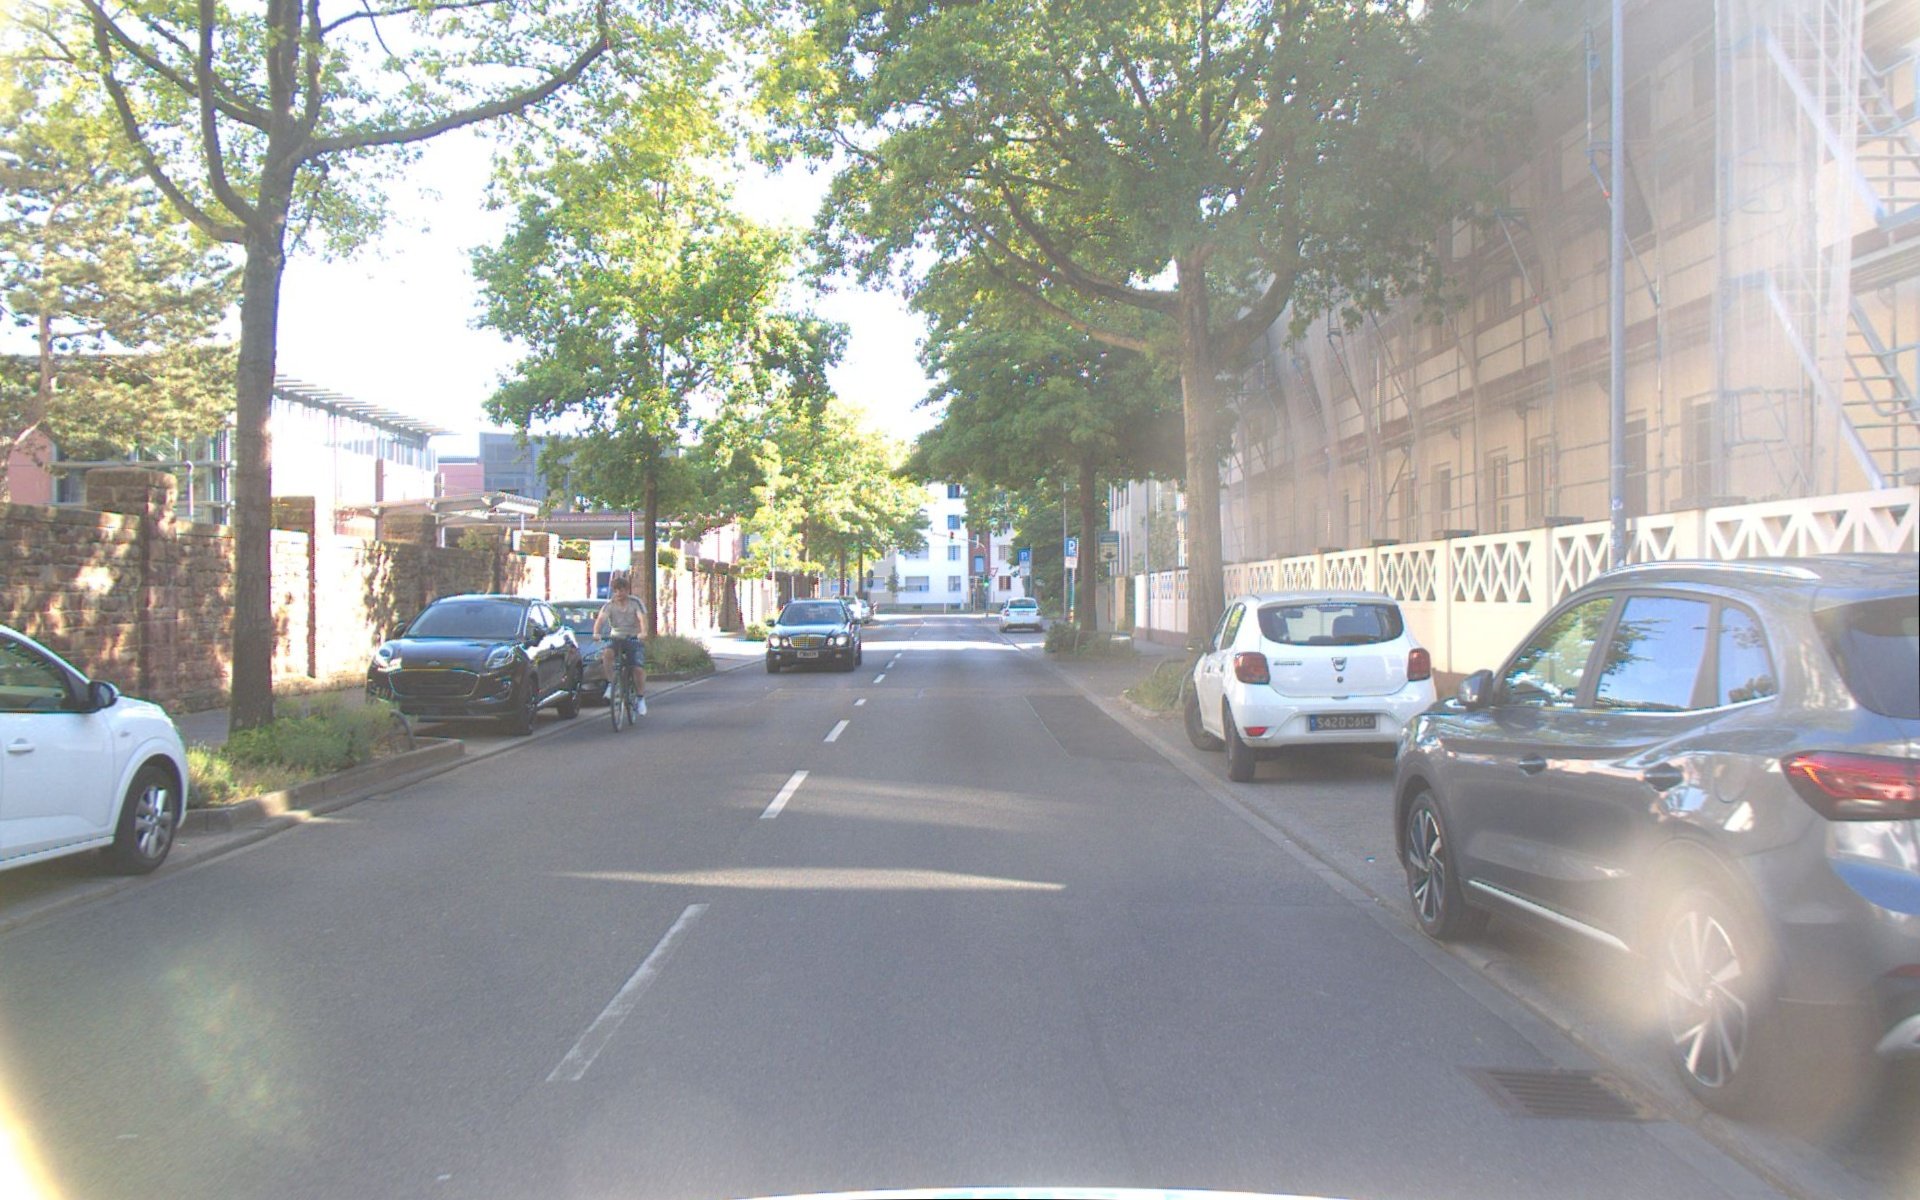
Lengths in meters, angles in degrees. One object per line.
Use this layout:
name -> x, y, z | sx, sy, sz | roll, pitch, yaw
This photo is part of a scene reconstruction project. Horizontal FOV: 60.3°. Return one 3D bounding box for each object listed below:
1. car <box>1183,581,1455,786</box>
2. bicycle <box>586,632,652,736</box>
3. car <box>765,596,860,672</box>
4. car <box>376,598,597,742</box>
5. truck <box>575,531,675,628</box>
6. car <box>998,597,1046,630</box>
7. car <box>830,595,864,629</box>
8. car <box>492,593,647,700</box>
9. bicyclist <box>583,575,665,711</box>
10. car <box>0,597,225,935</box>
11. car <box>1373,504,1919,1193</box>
car -> 3.054, 0.636, 14.848 | 1.688, 1.536, 3.993 | -2, 0, 2
bicycle -> -4.022, 0.965, 19.615 | 0.350, 1.140, 1.866 | 1, 0, 1
car -> -3.030, 0.666, 34.738 | 1.785, 1.461, 3.967 | 0, 0, -2
car -> -5.492, 0.747, 19.670 | 1.542, 1.541, 4.043 | 0, 0, -1
truck -> -13.901, -0.803, 69.208 | 2.677, 3.776, 7.426 | 1, 0, -1
car -> 2.635, 0.579, 71.219 | 1.795, 1.346, 4.495 | -1, 0, -1
car -> -5.981, 0.616, 87.931 | 1.685, 1.713, 4.349 | 0, 0, -2
car -> -5.750, 0.649, 24.741 | 1.654, 1.446, 3.835 | 1, 0, -5
bicyclist -> -3.971, 0.497, 19.607 | 0.706, 1.549, 1.005 | 1, 0, 2
car -> -5.335, 0.779, 8.095 | 1.642, 1.537, 3.850 | 3, 0, 1
car -> 3.004, 0.590, 6.199 | 1.678, 1.667, 4.300 | 0, 0, -2
